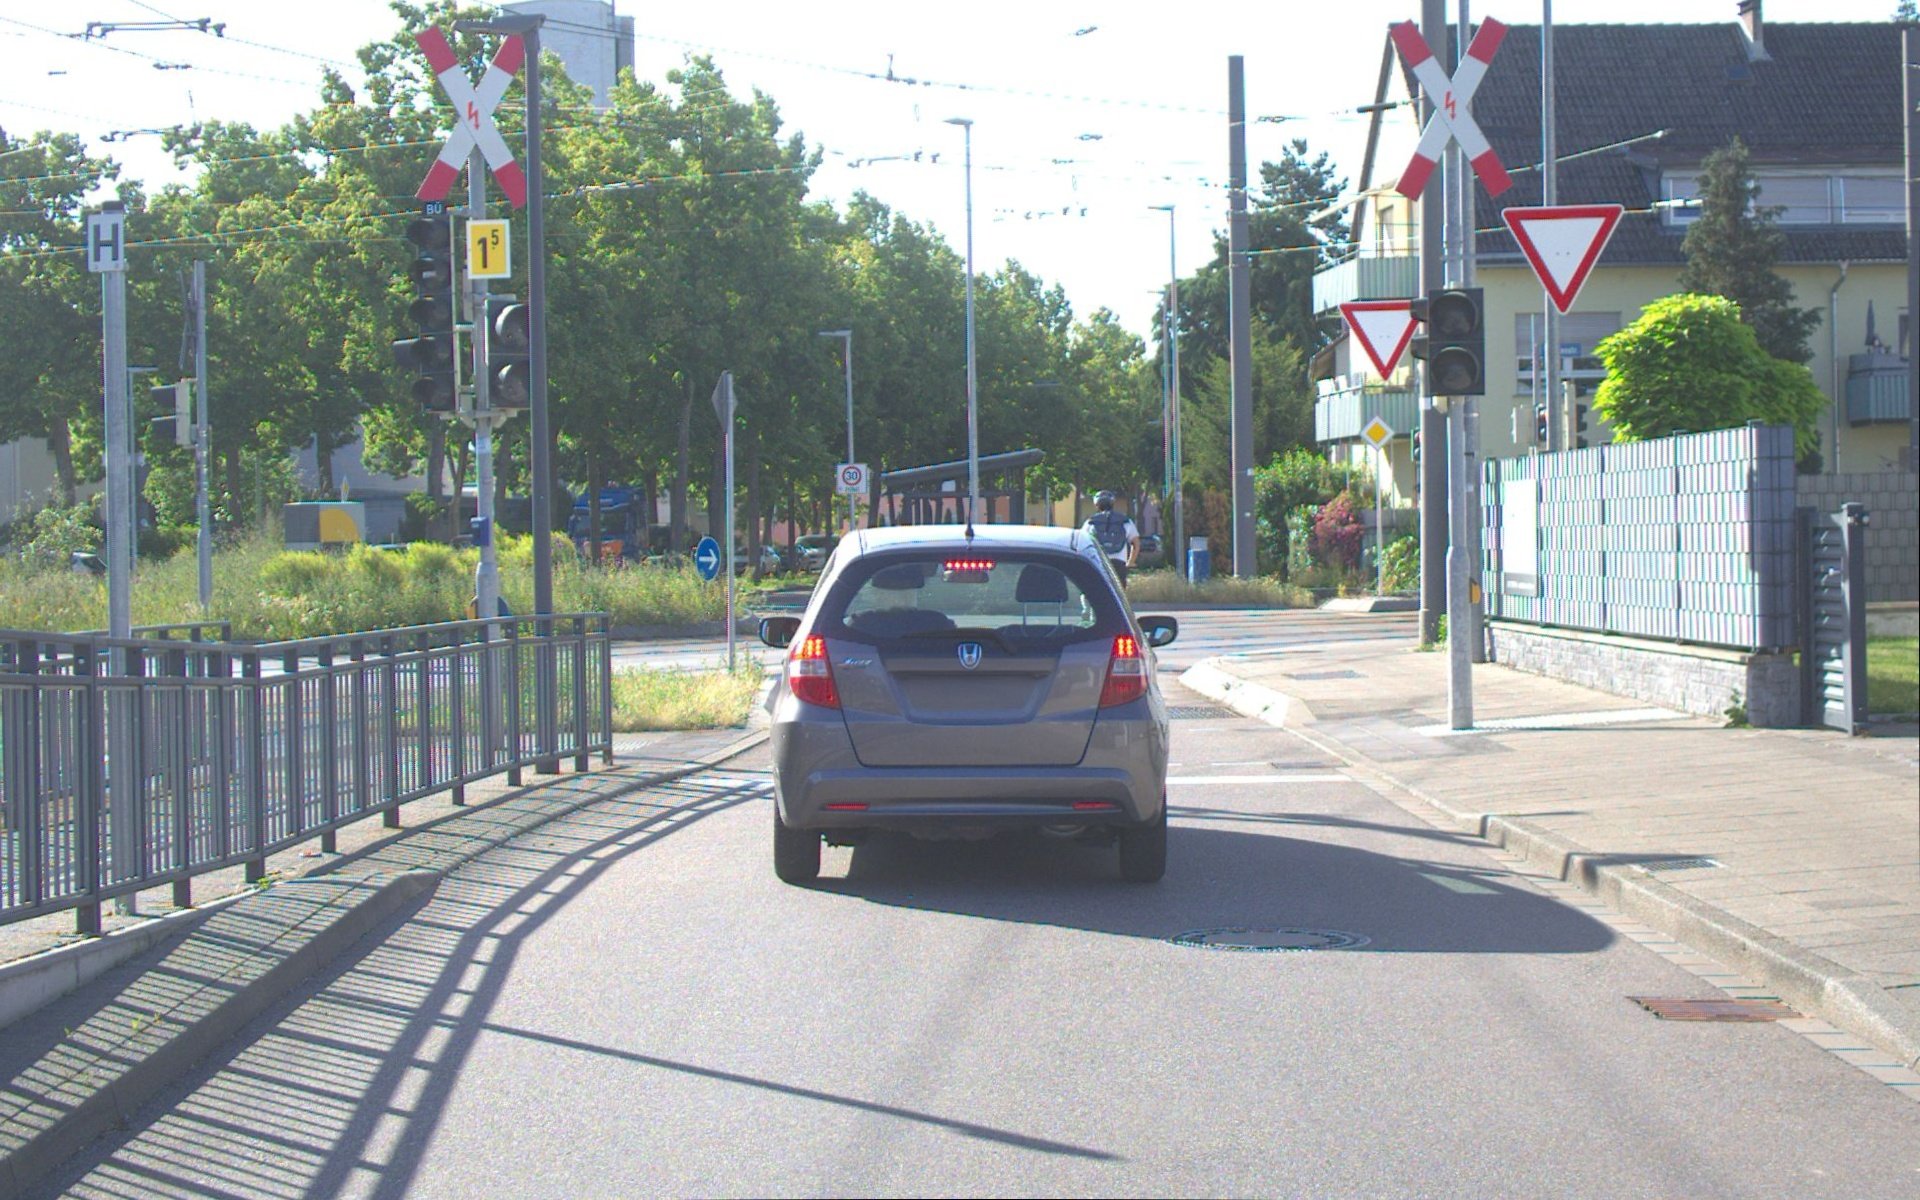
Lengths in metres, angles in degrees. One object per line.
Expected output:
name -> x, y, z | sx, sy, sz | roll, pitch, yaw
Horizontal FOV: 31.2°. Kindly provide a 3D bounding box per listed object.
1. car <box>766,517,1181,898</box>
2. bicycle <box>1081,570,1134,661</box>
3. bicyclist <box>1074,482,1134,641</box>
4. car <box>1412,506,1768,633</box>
car -> 0.002, 0.402, 15.635 | 1.670, 1.530, 3.487 | 0, 1, -2
bicycle -> 1.585, 0.154, 37.133 | 0.475, 0.958, 1.657 | 0, 1, -1
bicyclist -> 1.548, -0.420, 37.115 | 0.598, 1.695, 0.683 | 0, 0, -1
car -> 7.839, -0.374, 42.852 | 3.986, 1.524, 1.808 | 0, 1, -20
